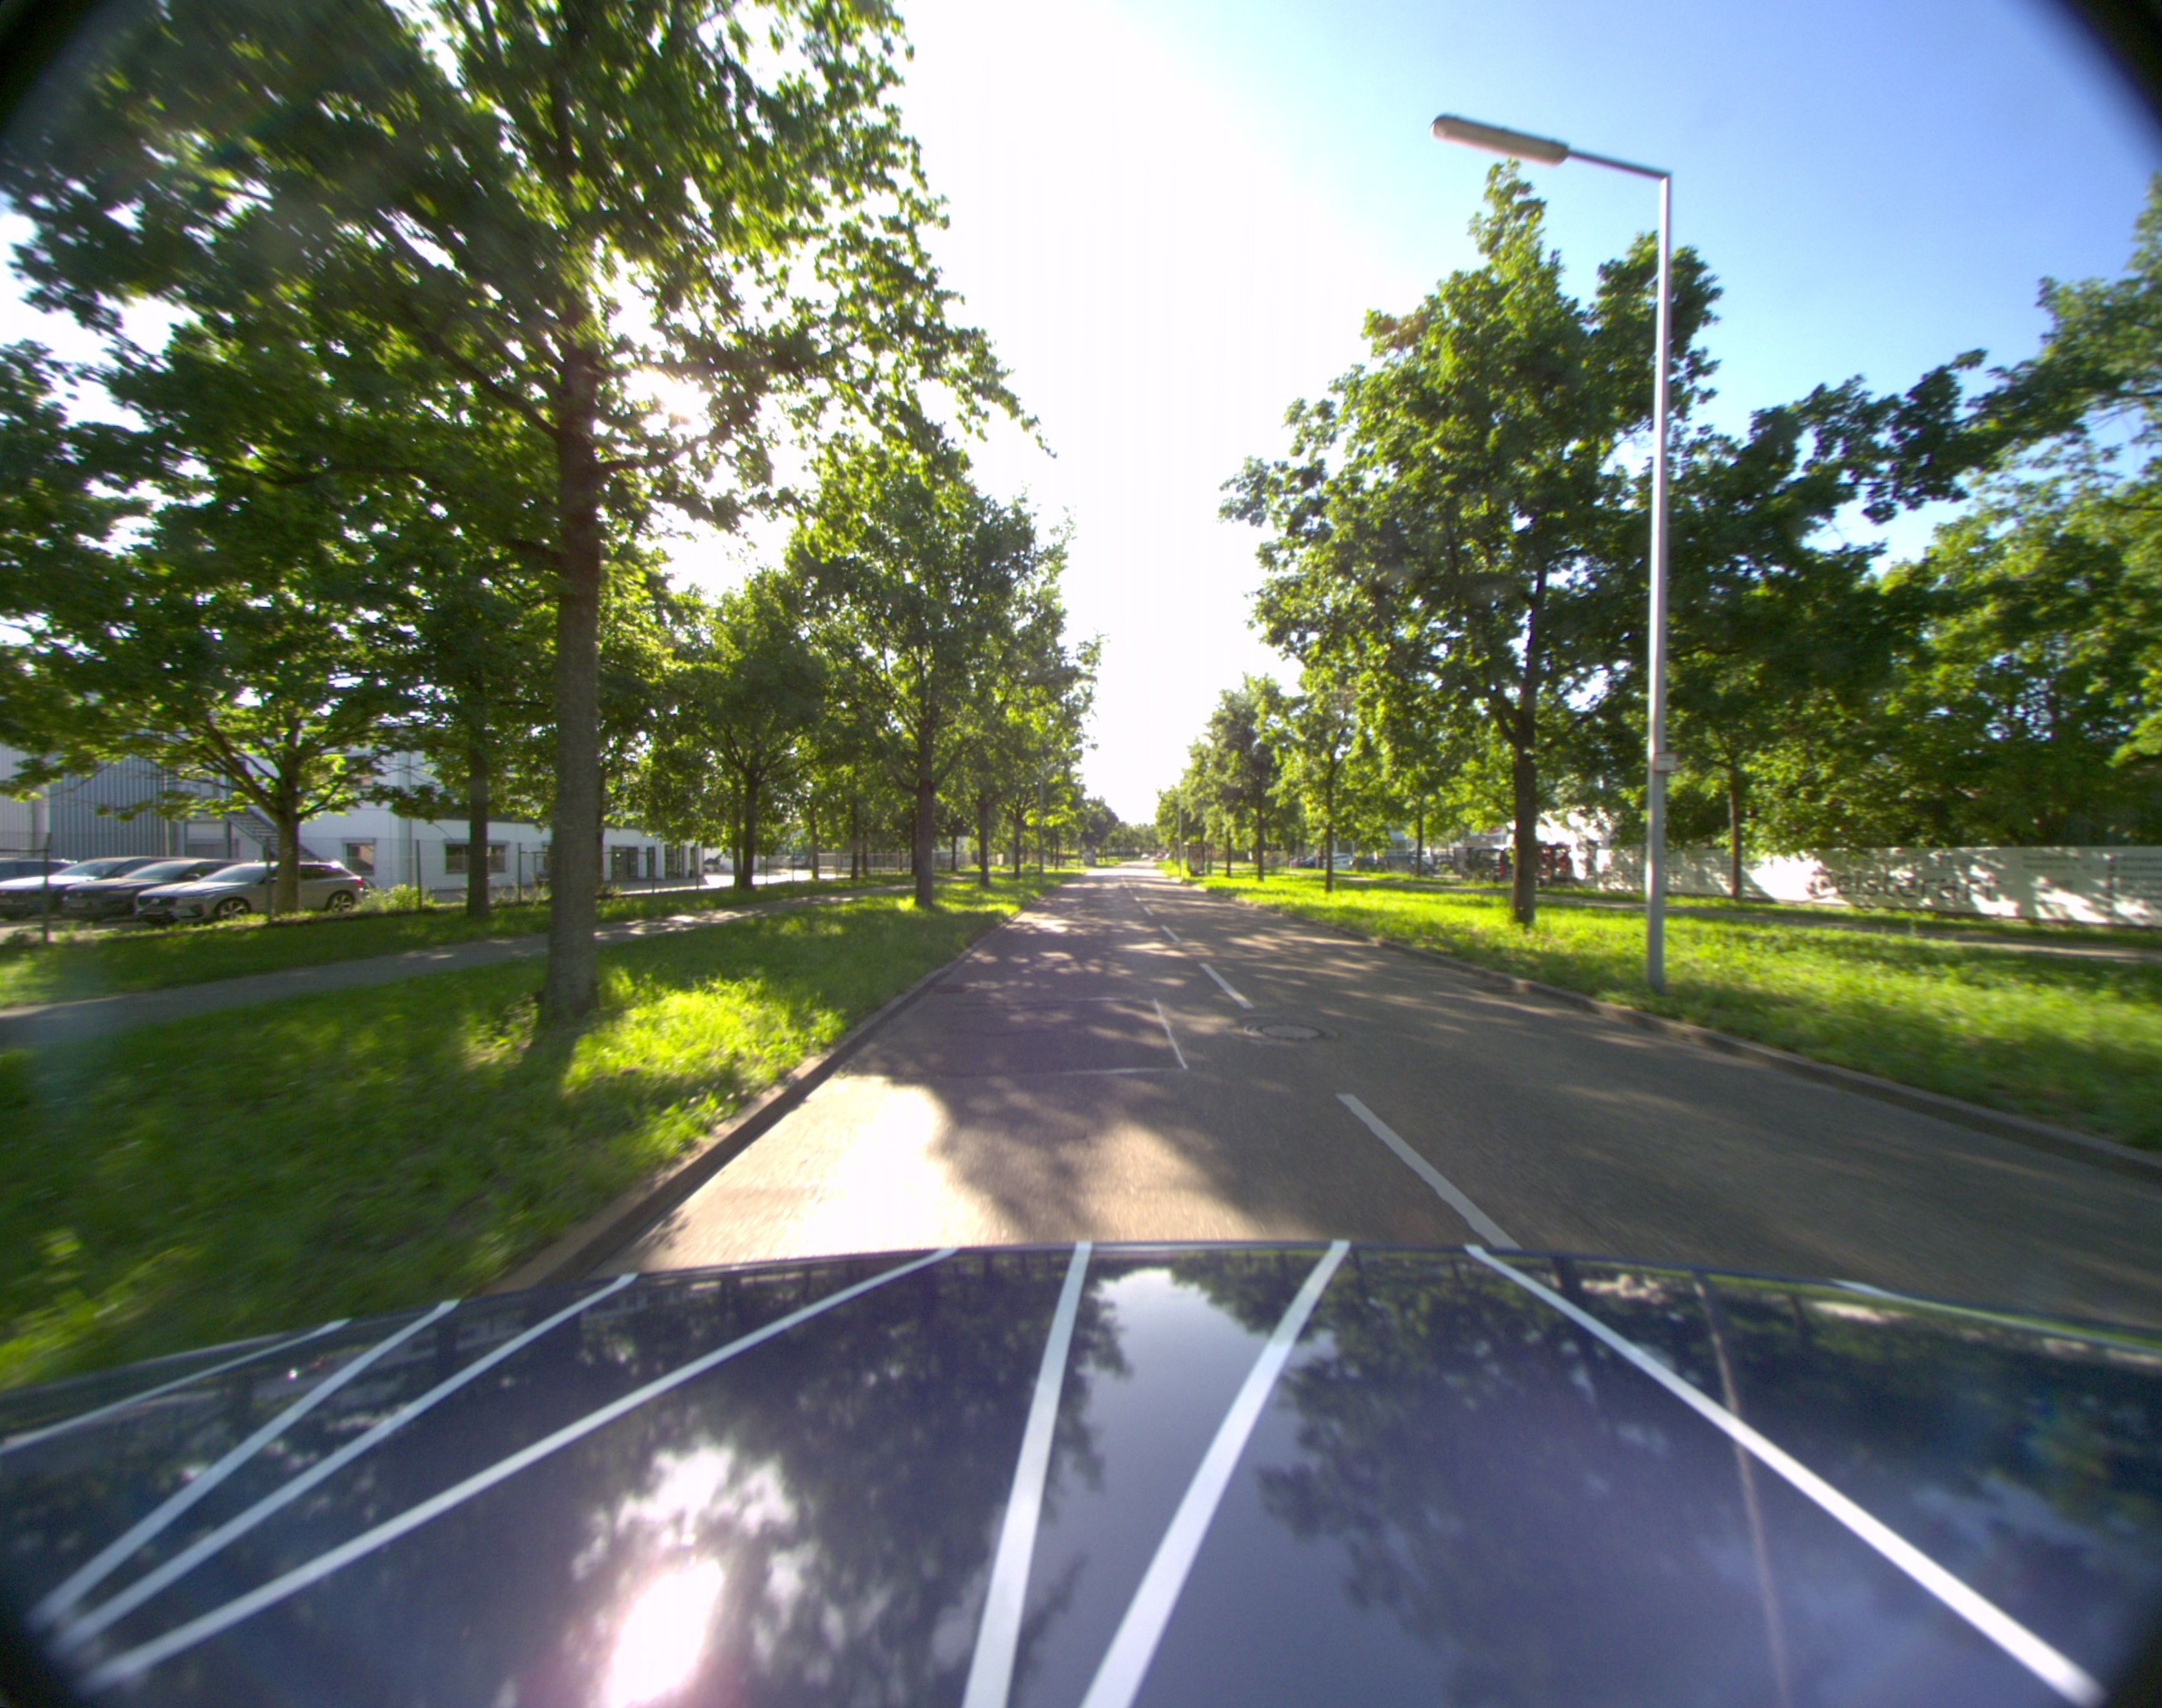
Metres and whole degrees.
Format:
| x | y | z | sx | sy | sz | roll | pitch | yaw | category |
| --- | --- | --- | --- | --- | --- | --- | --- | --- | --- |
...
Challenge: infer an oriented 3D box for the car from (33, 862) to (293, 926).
| x | y | z | sx | sy | sz | roll | pitch | yaw | category |
| --- | --- | --- | --- | --- | --- | --- | --- | --- | --- |
| -25.726 | 1.055 | 21.621 | 1.999 | 1.550 | 4.455 | 0 | 0 | -1 | car |

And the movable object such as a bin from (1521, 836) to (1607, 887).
| x | y | z | sx | sy | sz | roll | pitch | yaw | category |
| --- | --- | --- | --- | --- | --- | --- | --- | --- | --- |
| 25.558 | 0.350 | 40.430 | 1.998 | 2.501 | 4.236 | -2 | 1 | 3 | movable object such as a bin |

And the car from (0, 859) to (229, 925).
| x | y | z | sx | sy | sz | roll | pitch | yaw | category |
| --- | --- | --- | --- | --- | --- | --- | --- | --- | --- |
| -28.186 | 1.011 | 22.008 | 1.999 | 1.663 | 4.455 | 0 | 0 | -1 | car |

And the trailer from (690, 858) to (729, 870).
| x | y | z | sx | sy | sz | roll | pitch | yaw | category |
| --- | --- | --- | --- | --- | --- | --- | --- | --- | --- |
| -40.085 | 1.120 | 82.093 | 3.588 | 1.259 | 1.733 | 0 | 0 | 19 | trailer |

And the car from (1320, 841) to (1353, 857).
| x | y | z | sx | sy | sz | roll | pitch | yaw | category |
| --- | --- | --- | --- | --- | --- | --- | --- | --- | --- |
| 31.312 | -0.585 | 93.075 | 4.007 | 1.827 | 1.995 | -3 | 1 | -38 | car |

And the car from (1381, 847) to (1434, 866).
| x | y | z | sx | sy | sz | roll | pitch | yaw | category |
| --- | --- | --- | --- | --- | --- | --- | --- | --- | --- |
| 34.540 | 0.264 | 80.357 | 5.039 | 1.827 | 2.003 | -2 | 1 | 25 | car |

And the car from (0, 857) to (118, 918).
| x | y | z | sx | sy | sz | roll | pitch | yaw | category |
| --- | --- | --- | --- | --- | --- | --- | --- | --- | --- |
| -30.993 | 0.973 | 21.446 | 1.999 | 1.663 | 4.454 | -2 | 1 | -4 | car |

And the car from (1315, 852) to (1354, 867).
| x | y | z | sx | sy | sz | roll | pitch | yaw | category |
| --- | --- | --- | --- | --- | --- | --- | --- | --- | --- |
| 27.585 | 0.600 | 82.605 | 3.885 | 1.493 | 2.003 | -2 | 1 | 22 | car |

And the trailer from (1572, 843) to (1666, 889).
| x | y | z | sx | sy | sz | roll | pitch | yaw | category |
| --- | --- | --- | --- | --- | --- | --- | --- | --- | --- |
| 24.742 | 0.535 | 35.141 | 1.758 | 2.002 | 3.965 | 0 | 0 | 4 | trailer |

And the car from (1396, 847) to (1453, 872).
| x | y | z | sx | sy | sz | roll | pitch | yaw | category |
| --- | --- | --- | --- | --- | --- | --- | --- | --- | --- |
| 27.892 | 0.419 | 61.637 | 3.989 | 2.002 | 2.004 | 0 | 1 | 31 | car |

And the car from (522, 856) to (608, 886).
| x | y | z | sx | sy | sz | roll | pitch | yaw | category |
| --- | --- | --- | --- | --- | --- | --- | --- | --- | --- |
| -28.649 | 0.914 | 42.323 | 1.719 | 1.497 | 4.159 | -2 | 1 | 3 | car |

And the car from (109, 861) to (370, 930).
| x | y | z | sx | sy | sz | roll | pitch | yaw | category |
| --- | --- | --- | --- | --- | --- | --- | --- | --- | --- |
| -22.959 | 1.049 | 21.101 | 1.999 | 1.597 | 4.714 | 0 | 1 | -1 | car |

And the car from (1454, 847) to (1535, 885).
| x | y | z | sx | sy | sz | roll | pitch | yaw | category |
| --- | --- | --- | --- | --- | --- | --- | --- | --- | --- |
| 24.977 | 0.664 | 46.130 | 1.998 | 2.162 | 5.671 | -1 | 0 | 2 | car |

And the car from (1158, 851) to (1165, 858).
| x | y | z | sx | sy | sz | roll | pitch | yaw | category |
| --- | --- | --- | --- | --- | --- | --- | --- | --- | --- |
| 24.161 | 0.101 | 227.849 | 1.997 | 2.002 | 4.002 | 0 | 0 | 8 | car |
